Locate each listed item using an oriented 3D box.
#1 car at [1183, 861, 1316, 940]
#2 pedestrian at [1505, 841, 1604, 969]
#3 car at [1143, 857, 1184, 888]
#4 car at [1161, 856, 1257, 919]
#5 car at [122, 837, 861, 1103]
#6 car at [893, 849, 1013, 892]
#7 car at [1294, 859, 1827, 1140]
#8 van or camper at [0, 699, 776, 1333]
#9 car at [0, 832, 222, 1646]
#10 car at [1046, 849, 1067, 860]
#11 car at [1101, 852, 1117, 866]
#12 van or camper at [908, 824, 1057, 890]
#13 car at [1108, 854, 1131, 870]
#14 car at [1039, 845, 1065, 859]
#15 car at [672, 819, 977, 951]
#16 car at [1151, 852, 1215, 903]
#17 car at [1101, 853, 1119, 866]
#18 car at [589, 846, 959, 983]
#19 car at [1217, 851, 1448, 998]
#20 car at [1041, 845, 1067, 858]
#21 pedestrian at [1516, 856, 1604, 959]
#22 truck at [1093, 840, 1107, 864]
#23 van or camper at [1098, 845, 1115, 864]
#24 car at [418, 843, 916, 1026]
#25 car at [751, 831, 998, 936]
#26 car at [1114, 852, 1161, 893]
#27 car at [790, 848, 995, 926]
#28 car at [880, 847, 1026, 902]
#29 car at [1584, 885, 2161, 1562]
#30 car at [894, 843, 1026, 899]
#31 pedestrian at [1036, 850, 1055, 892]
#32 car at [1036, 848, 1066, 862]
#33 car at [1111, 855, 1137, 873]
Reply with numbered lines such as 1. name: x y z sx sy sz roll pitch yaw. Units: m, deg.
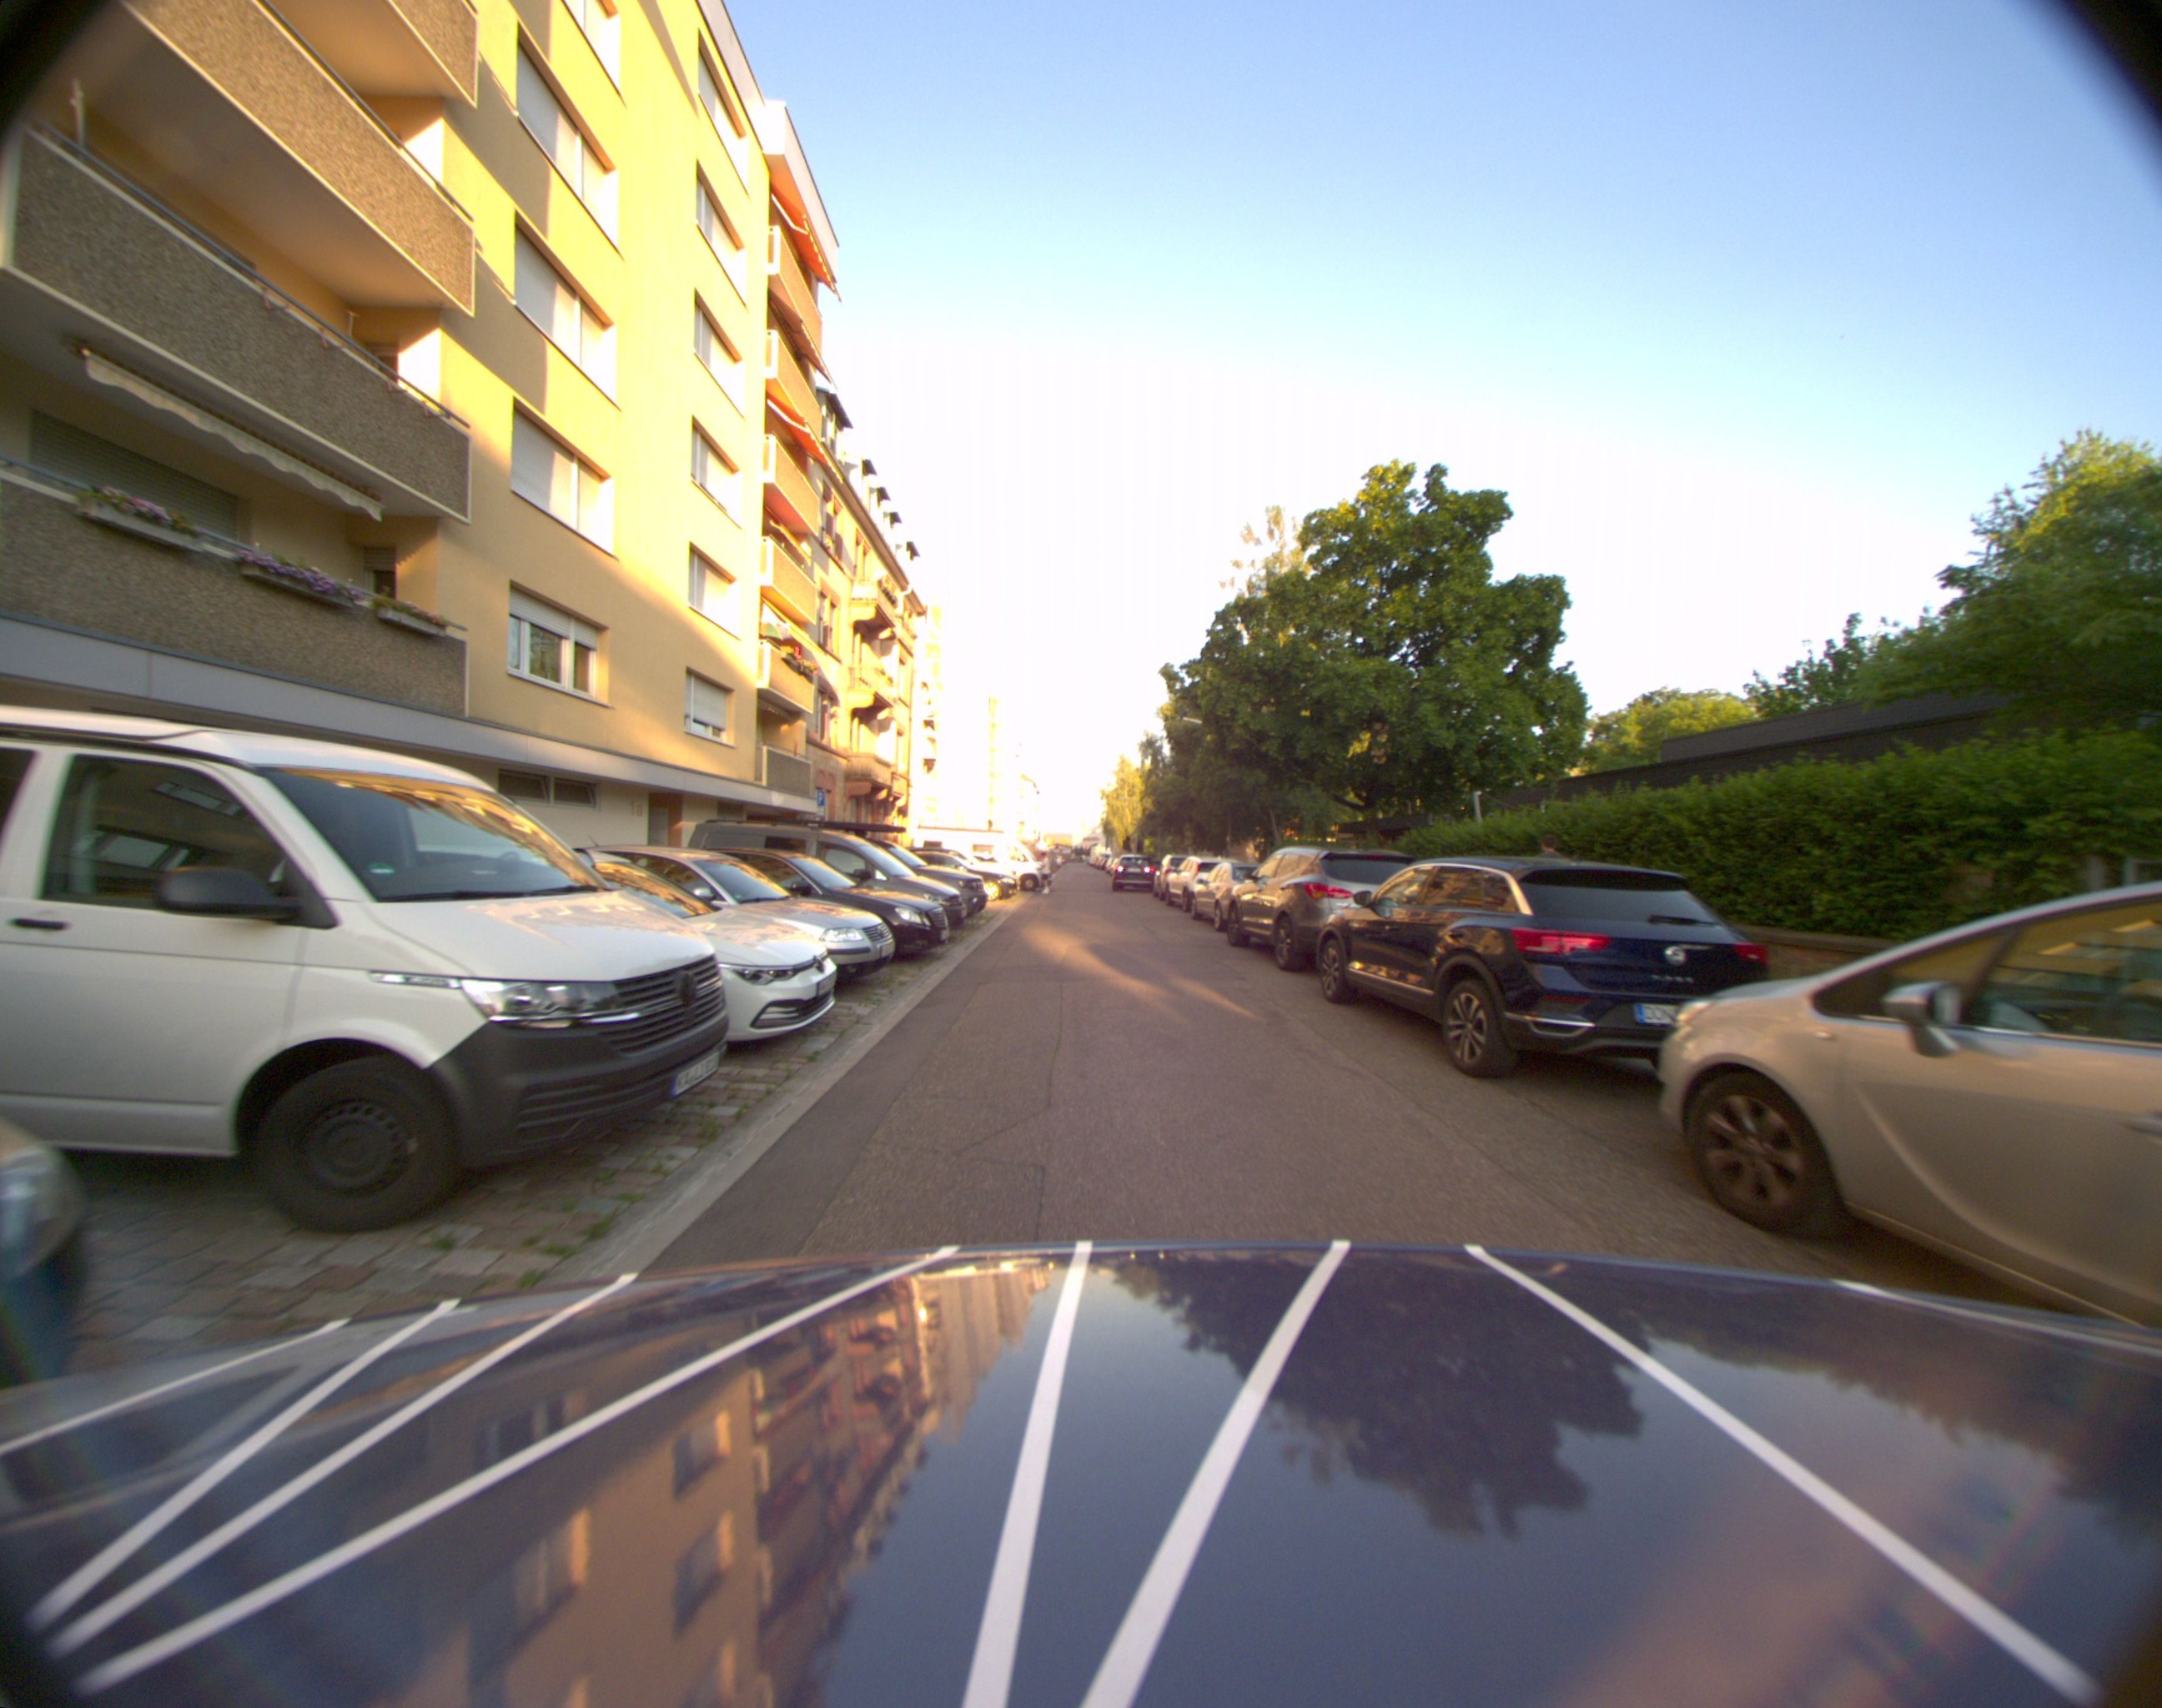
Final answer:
1. car: 3.556 0.917 16.842 1.738 1.418 4.285 2 0 -3
2. pedestrian: 6.693 0.695 10.773 0.901 1.722 0.750 -2 1 -2
3. car: 4.100 0.894 38.309 1.624 1.417 3.415 2 0 0
4. car: 3.552 0.878 21.839 1.764 1.534 4.279 2 0 -3
5. car: -4.256 0.775 6.076 4.415 1.622 1.845 2 2 -1
6. car: -5.016 0.621 30.111 4.414 1.609 1.845 0 1 1
7. car: 3.410 0.881 6.539 1.738 1.558 4.166 2 0 -3
8. van or camper: -4.530 0.464 3.679 5.147 2.155 2.039 5 1 -2
9. car: -4.332 0.700 0.954 4.338 1.652 1.780 4 2 -3
10. car: -4.687 0.062 148.093 3.997 2.002 2.000 0 1 -1
11. car: 3.407 0.596 93.728 1.738 1.502 4.290 2 0 -1
12. van or camper: -4.187 0.120 32.964 6.074 2.489 2.050 3 1 0
13. car: 3.520 0.740 69.504 1.738 1.358 4.290 2 0 -1
14. car: -4.383 -0.329 115.419 3.997 2.002 2.000 0 1 -1
15. car: -4.290 0.479 13.263 4.649 1.970 1.845 2 2 -1
16. car: 3.573 0.784 27.252 1.738 1.622 3.980 2 0 0
17. car: 3.324 0.628 87.869 1.738 1.358 4.290 2 0 -1
18. car: -4.104 0.776 10.700 4.415 1.554 1.845 2 2 -1
19. car: 3.416 0.844 11.298 1.738 1.720 4.321 2 0 -3
20. car: -4.193 -0.333 118.824 3.997 2.002 2.000 0 1 -1
21. pedestrian: 7.362 0.797 11.711 0.750 1.499 0.901 -2 1 -2
22. truck: 3.072 -0.373 125.714 2.183 3.860 4.926 0 1 0
23. van or camper: 3.327 0.071 99.092 1.825 2.400 4.290 2 0 -1
24. car: -4.237 0.783 8.332 4.415 1.584 1.845 2 2 -1
25. car: -4.097 0.572 15.628 4.524 1.852 1.845 2 1 -1
26. car: 2.546 0.755 33.548 1.736 1.622 4.128 2 0 8
27. car: -4.429 0.745 18.308 4.414 1.545 1.845 2 2 2
28. car: -4.127 0.641 25.012 4.414 1.545 1.845 2 2 1
29. car: 3.529 0.978 1.793 1.738 1.558 4.128 2 0 -3
30. car: -4.312 0.581 27.583 4.414 1.739 1.845 2 2 2
31. pedestrian: -1.468 0.702 31.322 0.748 1.693 0.558 -2 1 -4
32. car: -4.129 0.143 104.622 3.997 2.002 2.000 0 1 -1
33. car: 3.436 0.790 61.057 1.738 1.358 3.804 2 0 -1
